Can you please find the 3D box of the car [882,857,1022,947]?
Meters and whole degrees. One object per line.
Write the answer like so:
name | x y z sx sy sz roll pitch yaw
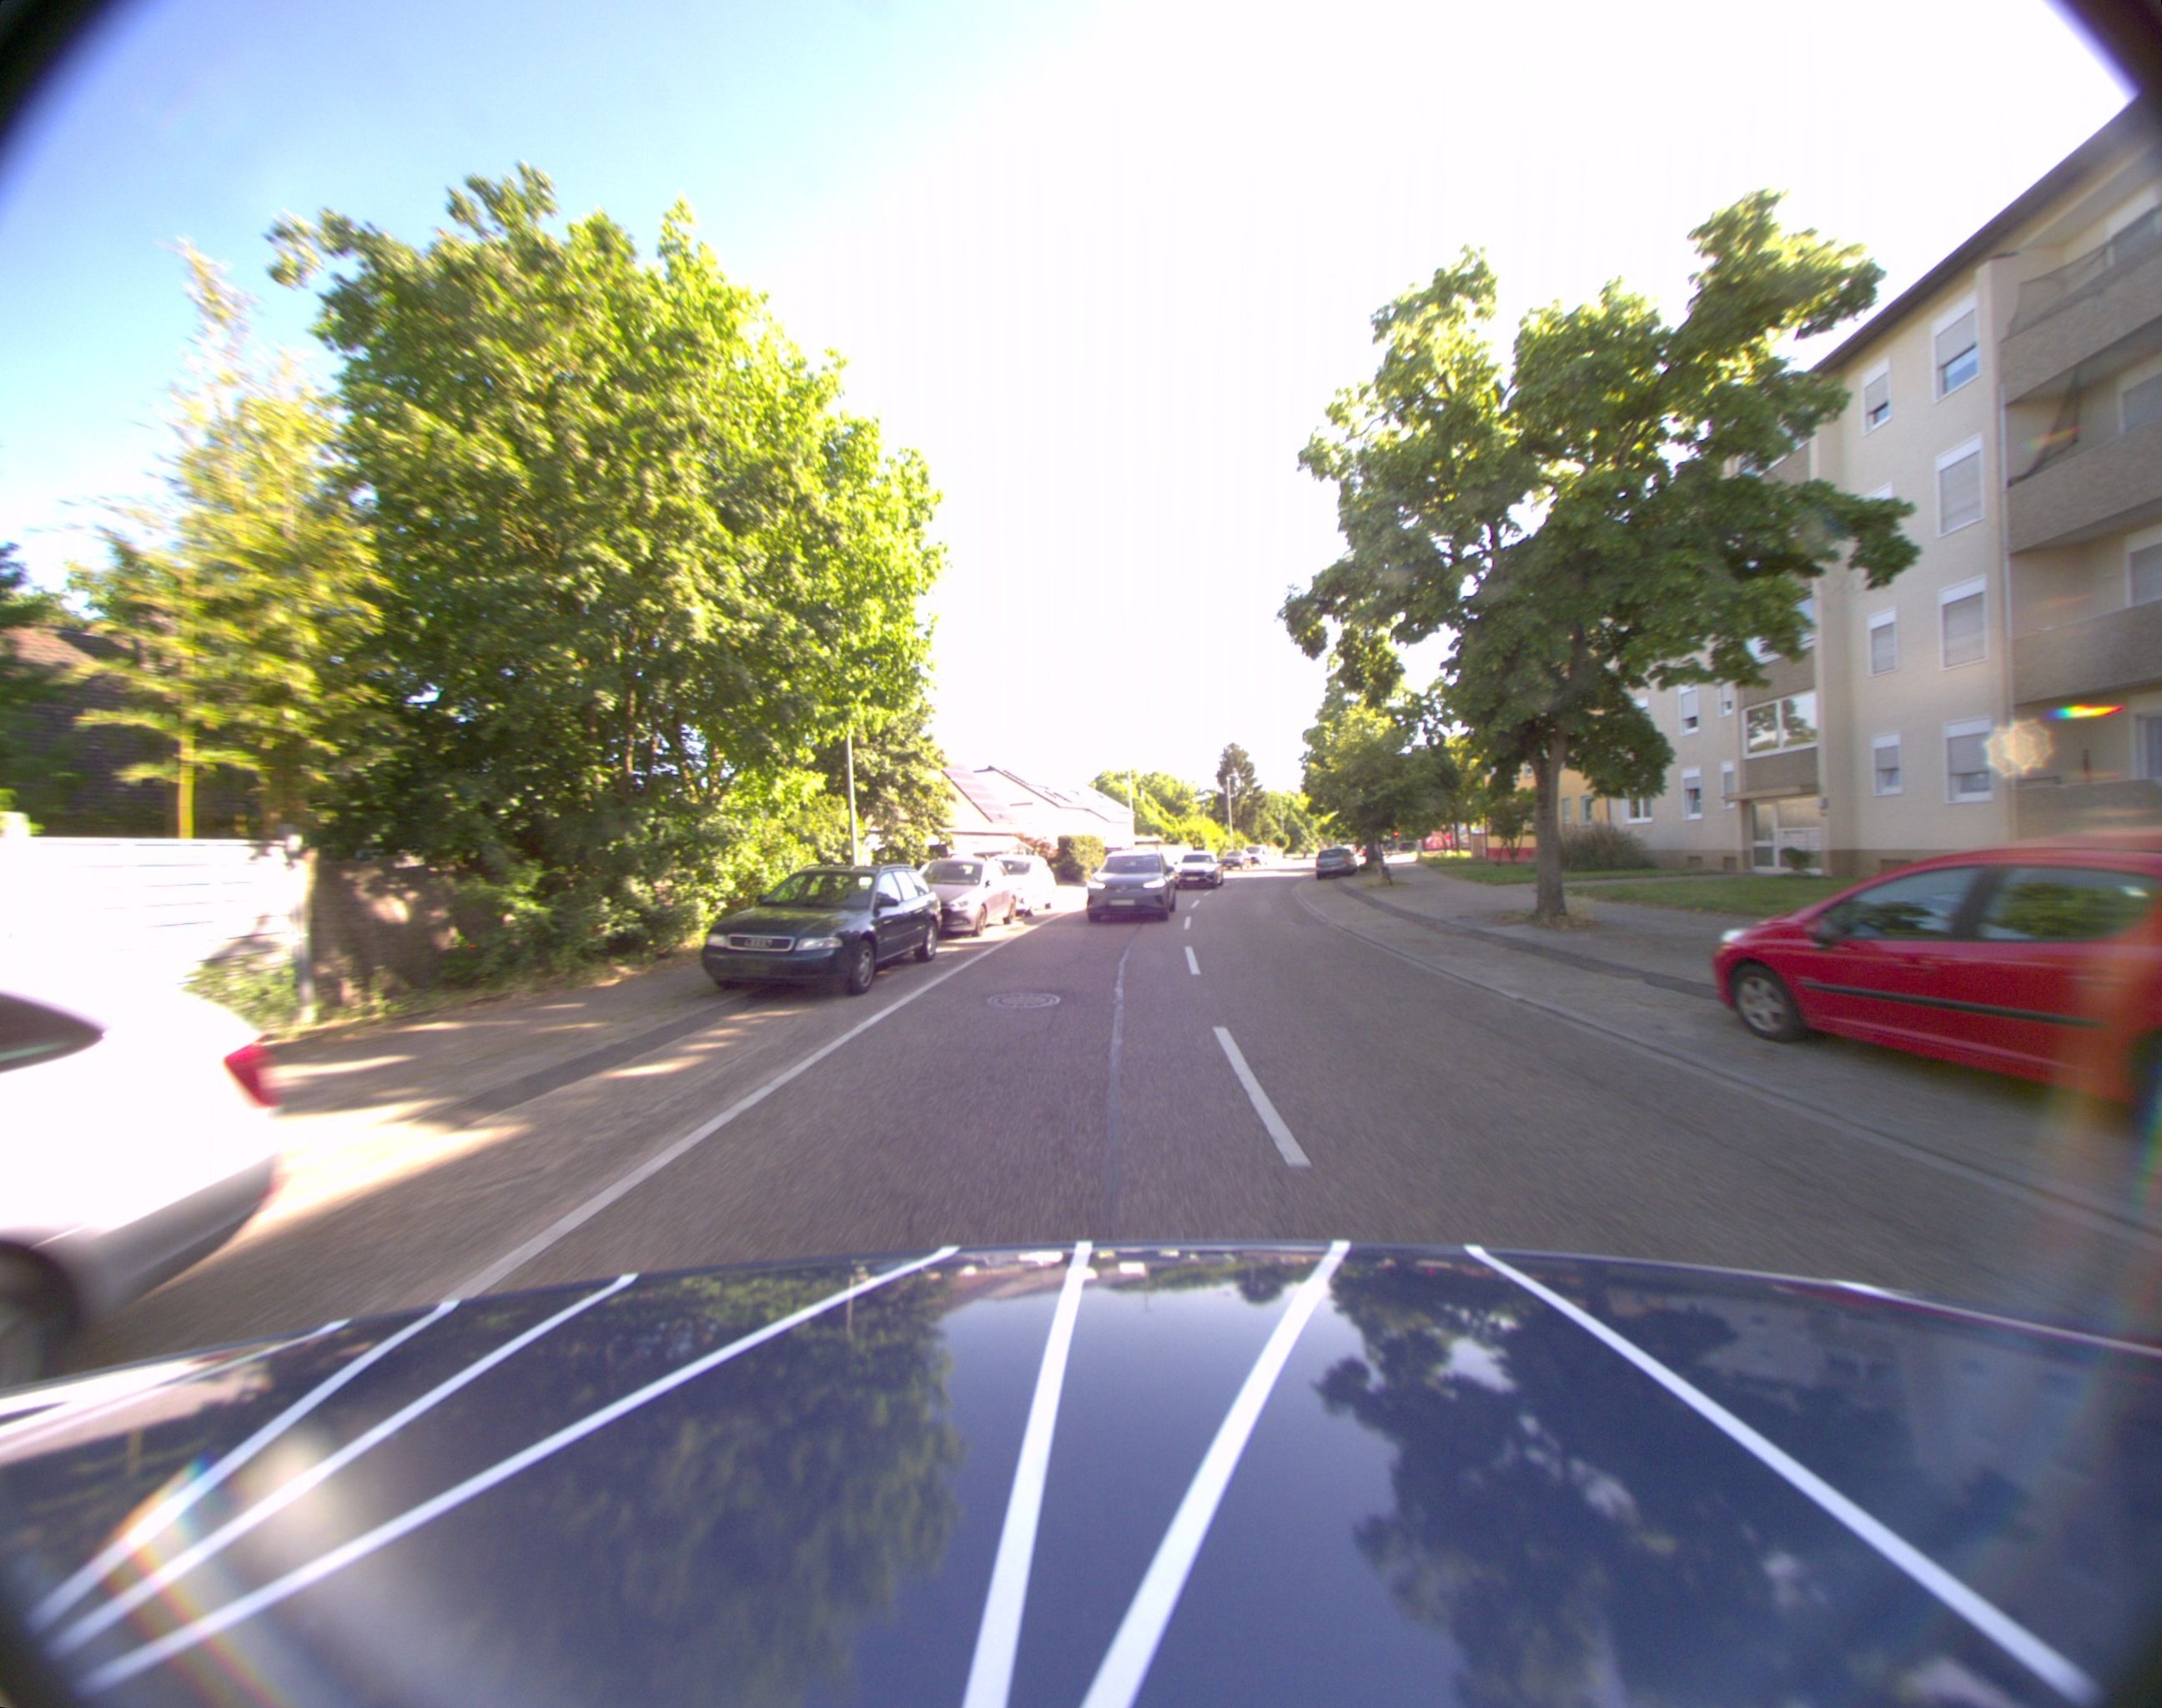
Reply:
car | -2.491 0.876 15.718 1.722 1.565 4.002 0 0 8

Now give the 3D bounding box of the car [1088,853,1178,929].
car | 1.371 0.819 18.508 1.776 1.624 3.706 -2 0 10

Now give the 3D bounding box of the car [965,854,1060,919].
car | -1.749 0.795 20.525 1.635 1.565 3.706 0 1 10

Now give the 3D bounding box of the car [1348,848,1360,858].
car | 40.156 -0.170 111.979 1.545 1.456 3.709 -2 0 19

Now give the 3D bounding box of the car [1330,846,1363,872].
car | 16.448 0.296 47.011 1.649 1.530 3.709 -2 0 23

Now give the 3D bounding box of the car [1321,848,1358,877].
car | 14.461 0.438 42.394 1.649 1.530 3.709 -2 0 23

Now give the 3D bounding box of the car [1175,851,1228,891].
car | 5.200 0.706 32.530 1.578 1.568 3.709 -2 0 19

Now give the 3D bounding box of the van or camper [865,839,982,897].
van or camper | -5.967 0.529 28.864 3.844 2.002 1.954 -2 0 24

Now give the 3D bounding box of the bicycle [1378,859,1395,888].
bicycle | 10.765 0.680 26.784 0.357 1.001 1.201 -3 -1 15

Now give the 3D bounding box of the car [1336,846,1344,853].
car | 55.628 -1.014 163.440 1.545 1.456 3.709 -2 0 19

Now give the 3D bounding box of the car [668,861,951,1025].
car | -3.138 0.935 9.912 1.657 1.554 4.466 -2 0 6

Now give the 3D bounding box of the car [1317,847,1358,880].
car | 12.938 0.434 38.263 1.649 1.530 3.709 -2 0 23

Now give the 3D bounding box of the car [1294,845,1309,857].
car | 29.334 -0.386 100.949 1.638 1.568 3.709 -2 0 19

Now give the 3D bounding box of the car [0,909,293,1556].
car | -3.668 0.999 0.251 1.767 1.554 4.663 -2 0 3

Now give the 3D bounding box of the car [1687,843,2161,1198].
car | 5.822 0.756 4.390 1.661 1.485 3.910 -6 0 6

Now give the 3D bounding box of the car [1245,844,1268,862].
car | 16.225 -0.088 70.196 1.638 1.568 3.709 -2 0 19

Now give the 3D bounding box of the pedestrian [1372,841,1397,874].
pedestrian | 15.125 0.163 37.903 0.959 1.619 0.734 -2 1 35

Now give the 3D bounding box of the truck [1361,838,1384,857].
truck | 37.867 -0.820 98.654 2.409 2.353 4.533 -2 0 26

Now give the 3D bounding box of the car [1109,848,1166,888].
car | 2.705 0.611 35.712 1.775 1.727 3.709 0 1 19
